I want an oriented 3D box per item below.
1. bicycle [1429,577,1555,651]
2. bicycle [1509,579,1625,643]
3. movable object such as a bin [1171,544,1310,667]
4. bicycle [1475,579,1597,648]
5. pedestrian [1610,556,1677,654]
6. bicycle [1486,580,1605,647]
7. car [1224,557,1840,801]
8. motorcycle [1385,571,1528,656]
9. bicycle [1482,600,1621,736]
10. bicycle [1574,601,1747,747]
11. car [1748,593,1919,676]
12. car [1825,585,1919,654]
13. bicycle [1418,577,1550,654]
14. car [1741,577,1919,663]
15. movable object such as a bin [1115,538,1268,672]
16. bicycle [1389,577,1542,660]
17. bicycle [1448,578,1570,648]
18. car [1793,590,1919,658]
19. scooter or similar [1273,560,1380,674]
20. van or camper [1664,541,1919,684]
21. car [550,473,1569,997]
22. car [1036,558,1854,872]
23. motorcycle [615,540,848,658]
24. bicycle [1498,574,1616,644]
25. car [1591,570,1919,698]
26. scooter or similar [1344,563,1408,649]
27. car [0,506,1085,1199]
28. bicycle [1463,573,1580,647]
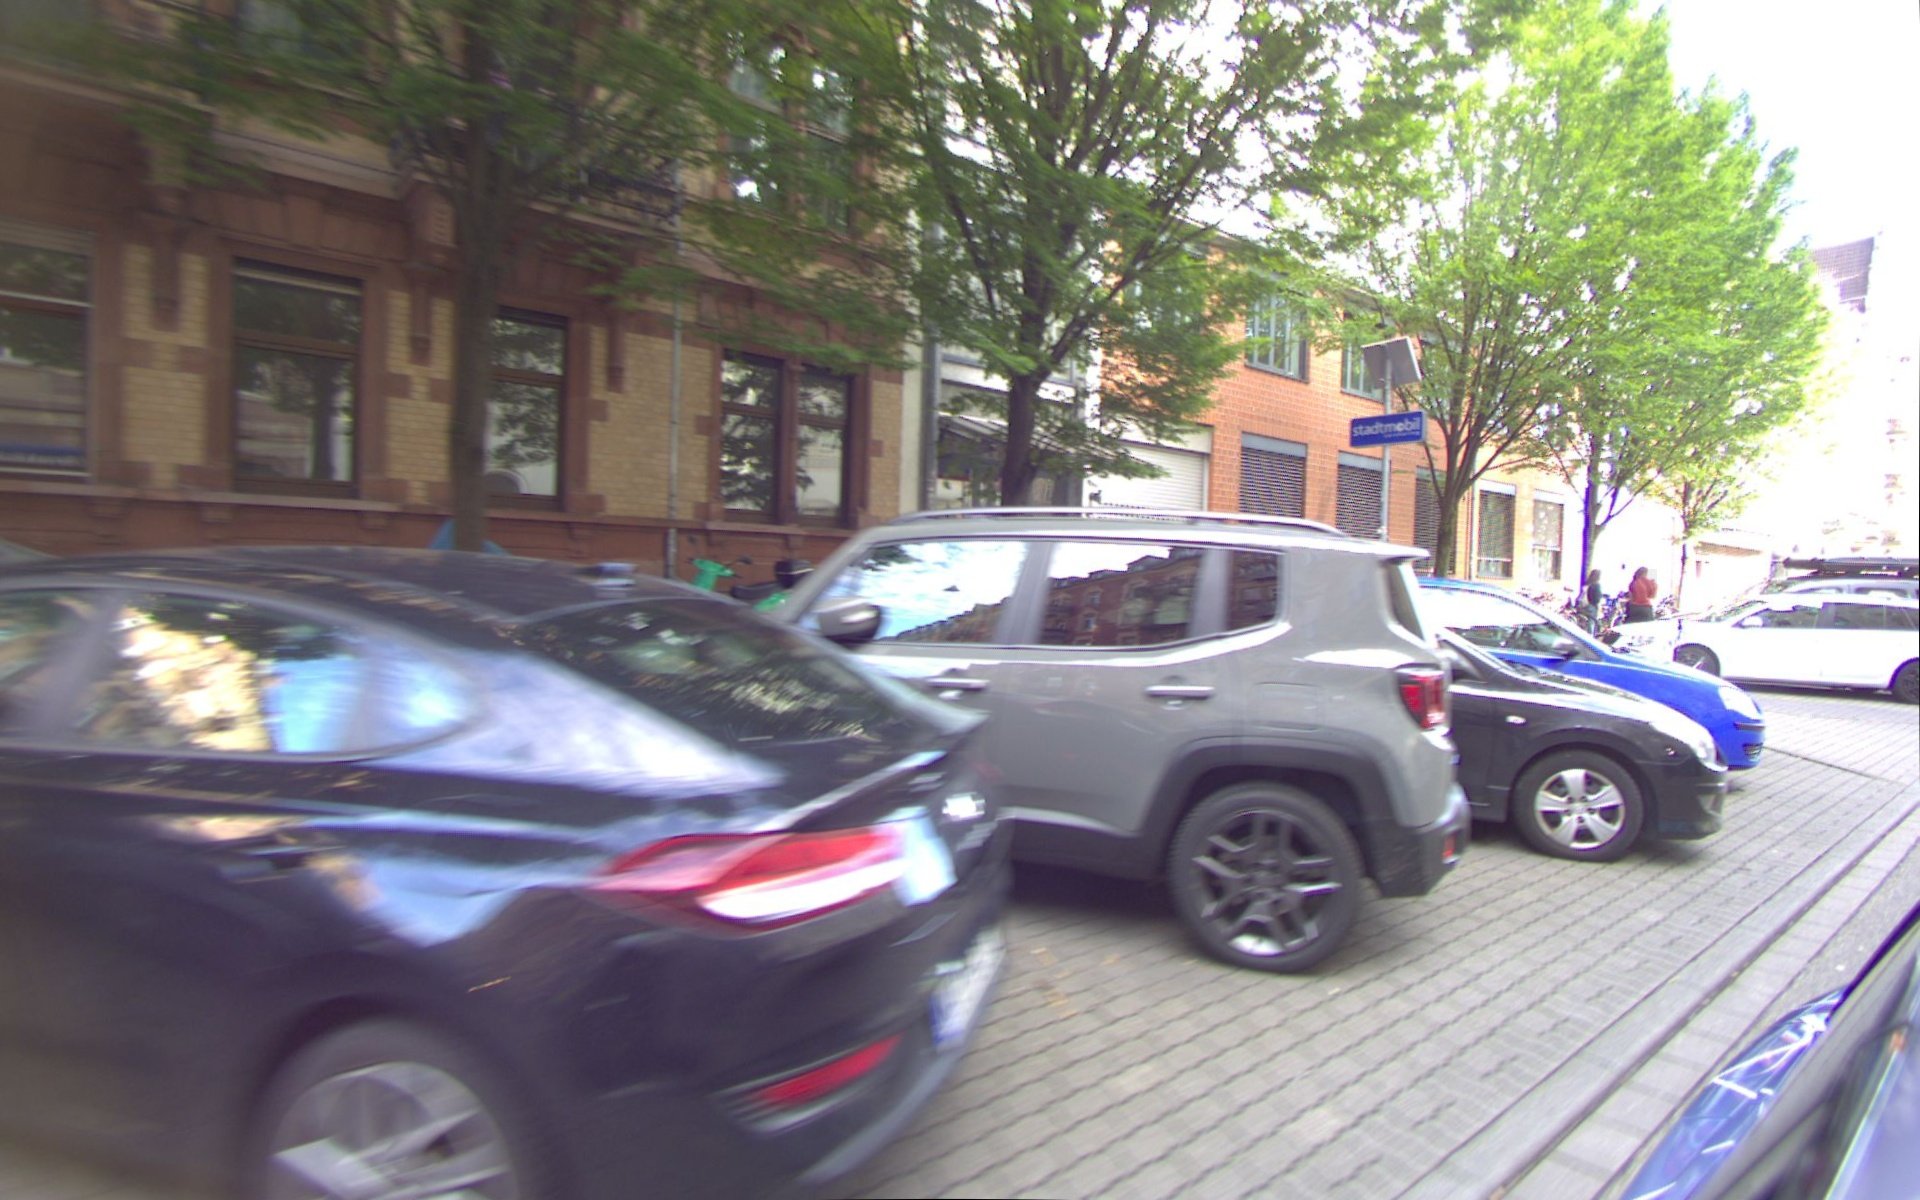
[{"bbox_3d":[9.820,0.224,18.729,0.607,1.145,1.896,0,5,-42],"label":"bicycle"},{"bbox_3d":[12.628,0.204,21.105,0.607,1.125,1.896,0,5,-42],"label":"bicycle"},{"bbox_3d":[3.823,0.045,13.838,1.020,1.462,1.375,0,7,-42],"label":"movable object such as a bin"},{"bbox_3d":[11.252,0.237,19.830,0.607,1.133,1.896,0,5,-42],"label":"bicycle"},{"bbox_3d":[12.921,0.086,19.132,0.937,1.759,0.753,0,5,-44],"label":"pedestrian"},{"bbox_3d":[11.698,0.241,20.266,0.607,1.115,1.896,0,5,-42],"label":"bicycle"},{"bbox_3d":[4.368,0.479,8.377,3.957,1.455,1.712,4,3,24],"label":"car"},{"bbox_3d":[8.579,0.199,17.566,0.813,1.241,1.984,0,5,-41],"label":"motorcycle"},{"bbox_3d":[5.979,0.637,10.346,0.441,1.166,1.786,1,3,4],"label":"bicycle"},{"bbox_3d":[6.730,0.653,9.836,0.691,1.227,1.744,1,1,10],"label":"bicycle"},{"bbox_3d":[17.103,0.615,18.456,3.949,1.417,1.651,1,1,19],"label":"car"},{"bbox_3d":[24.758,0.480,25.561,3.949,1.694,1.915,1,1,19],"label":"car"},{"bbox_3d":[9.362,0.243,18.146,0.607,1.154,1.920,0,5,-42],"label":"bicycle"},{"bbox_3d":[19.884,0.416,22.178,3.949,1.783,1.901,1,1,19],"label":"car"},{"bbox_3d":[2.985,0.039,13.120,1.144,1.476,1.376,0,9,-42],"label":"movable object such as a bin"},{"bbox_3d":[8.283,0.271,16.667,0.806,1.108,2.026,0,6,-40],"label":"bicycle"},{"bbox_3d":[10.310,0.215,19.067,0.528,1.132,1.886,0,5,-41],"label":"bicycle"},{"bbox_3d":[22.623,0.553,23.988,3.949,1.527,1.988,1,1,19],"label":"car"},{"bbox_3d":[4.674,0.210,12.901,1.294,1.397,0.526,0,0,-26],"label":"scooter or similar"},{"bbox_3d":[14.390,0.166,16.859,3.951,2.206,1.987,1,0,21],"label":"van or camper"},{"bbox_3d":[0.342,0.375,4.820,3.944,1.720,1.843,3,1,16],"label":"car"},{"bbox_3d":[2.638,0.523,6.397,4.065,1.539,1.837,1,2,14],"label":"car"},{"bbox_3d":[-2.533,-0.021,11.452,2.447,1.202,0.895,0,1,-41],"label":"motorcycle"},{"bbox_3d":[12.172,0.161,20.683,0.607,1.219,1.896,0,5,-42],"label":"bicycle"},{"bbox_3d":[12.524,0.471,15.191,4.746,1.562,1.860,4,3,19],"label":"car"},{"bbox_3d":[7.074,0.076,17.268,0.516,1.329,1.321,4,4,5],"label":"scooter or similar"},{"bbox_3d":[-1.817,0.519,2.914,4.079,1.435,1.860,2,1,15],"label":"car"},{"bbox_3d":[10.764,0.166,19.442,0.607,1.219,1.781,0,5,-42],"label":"bicycle"}]
